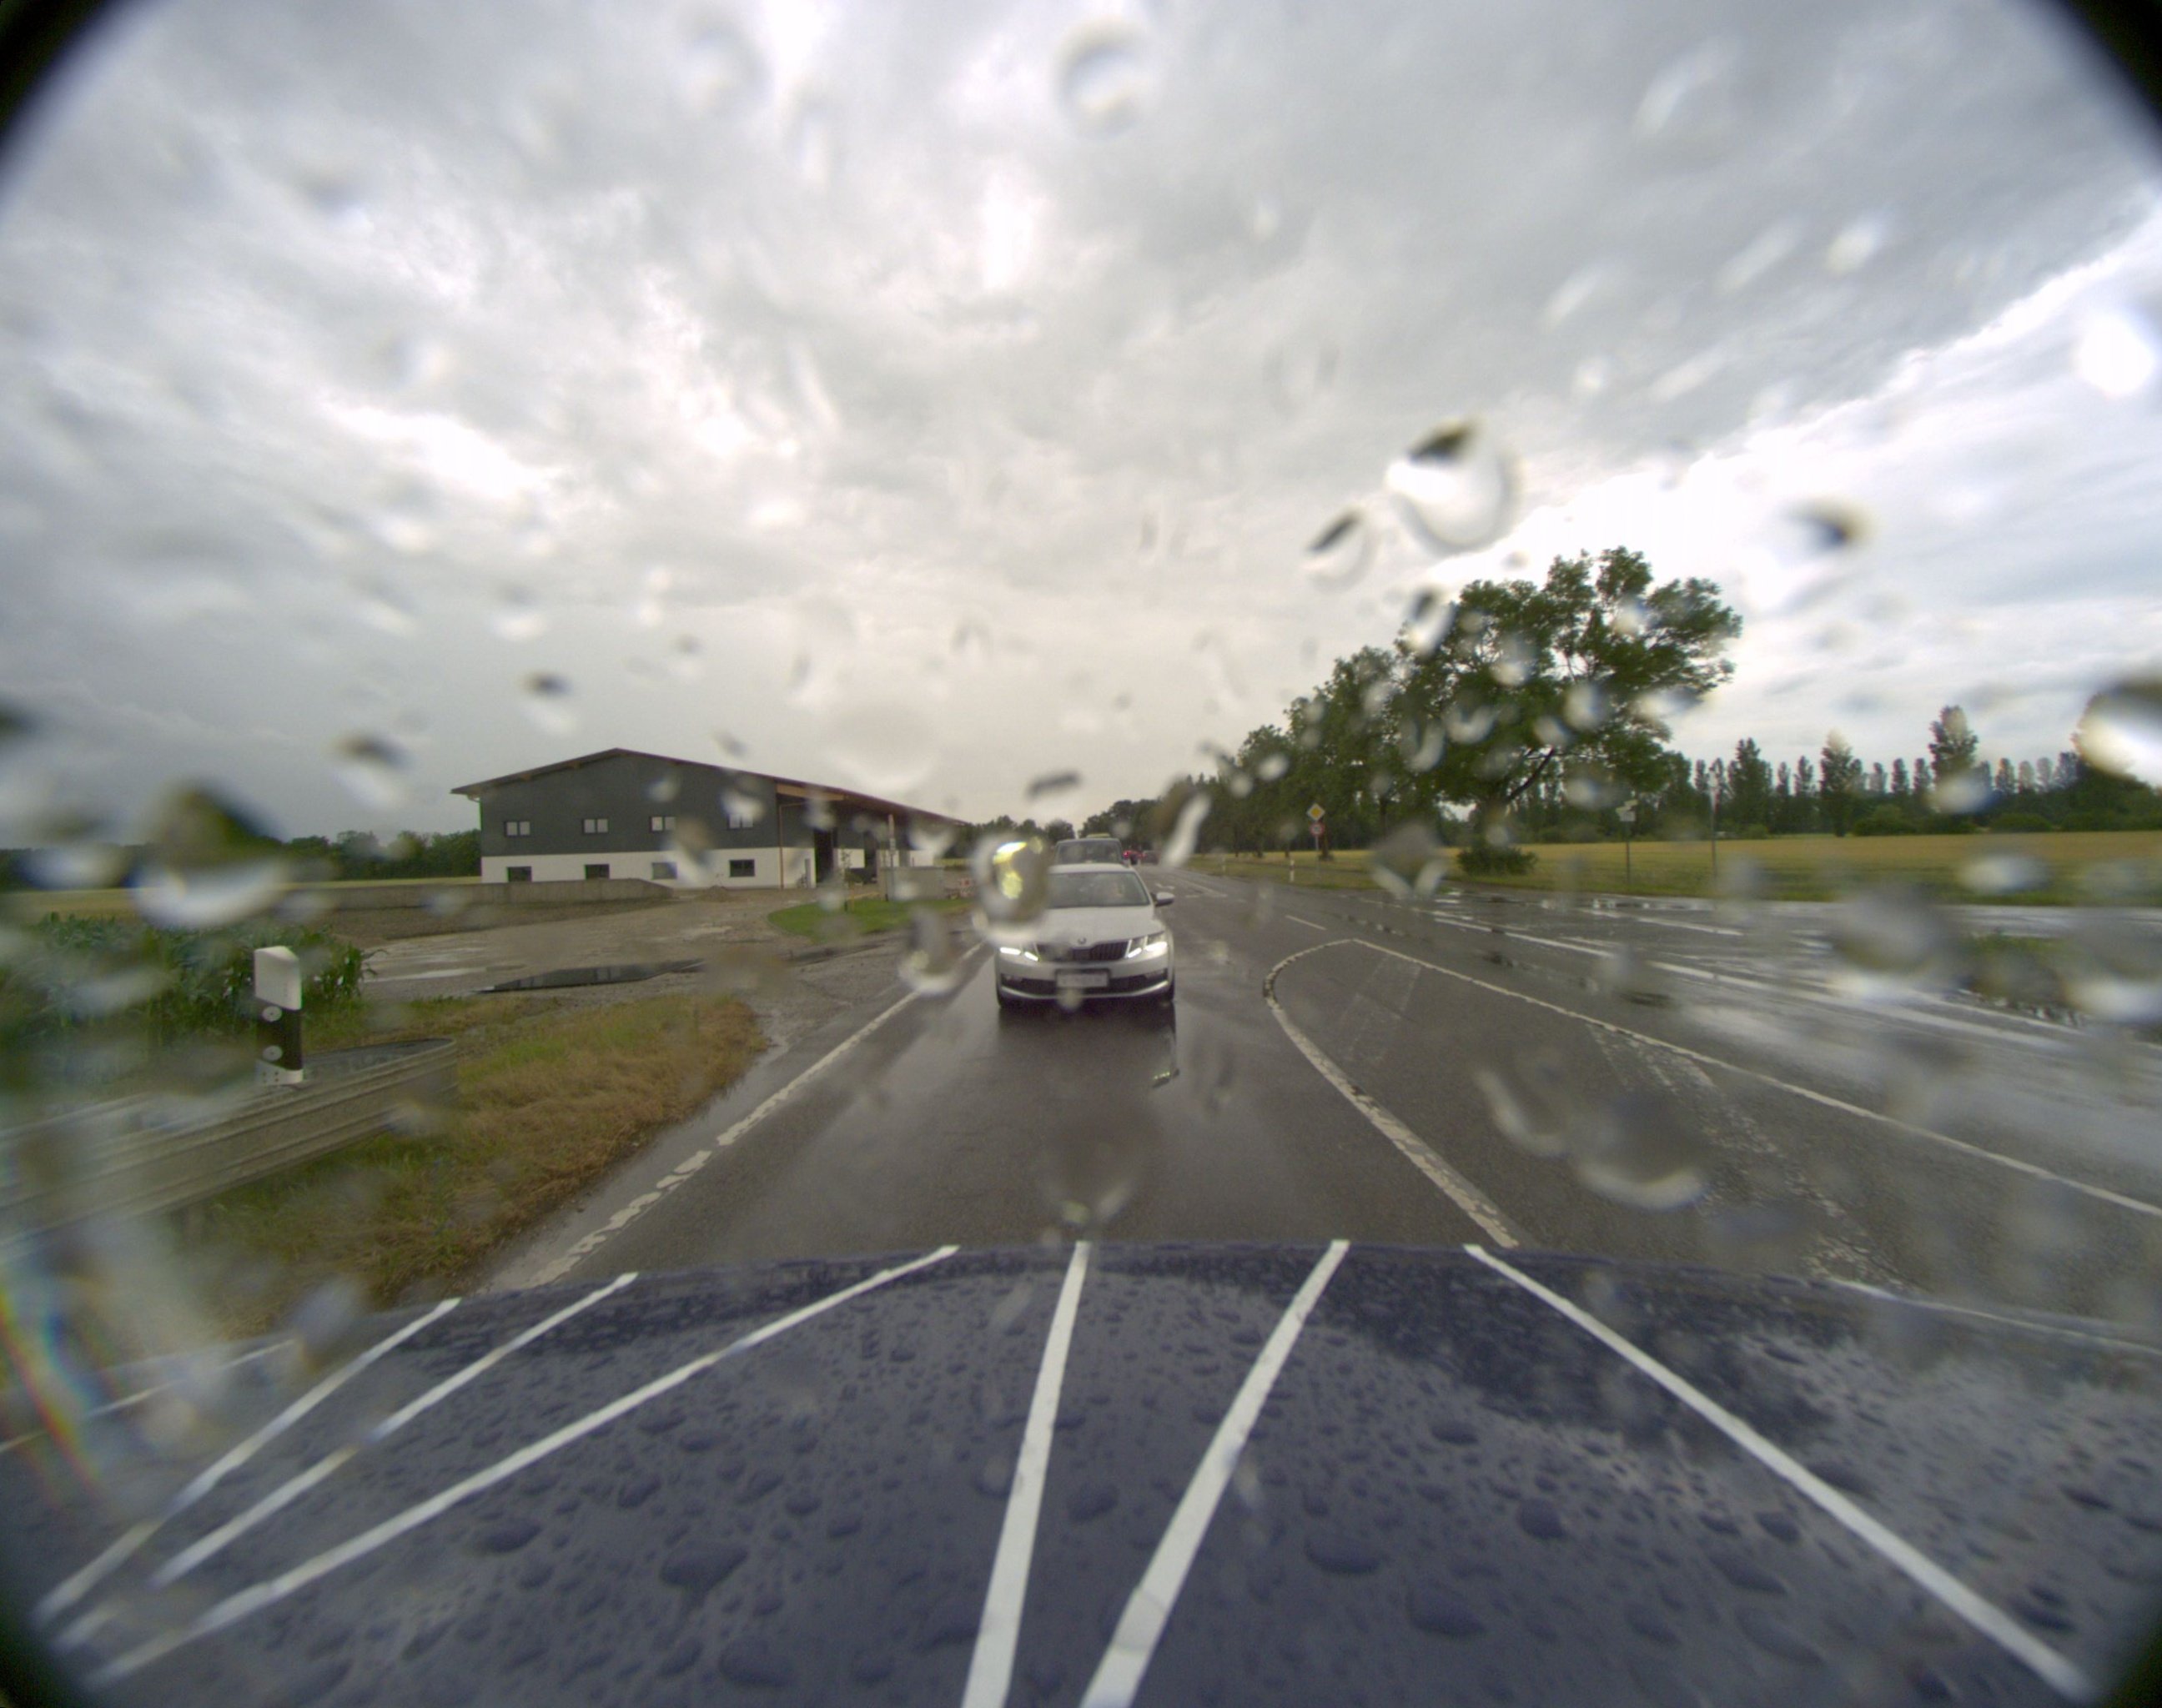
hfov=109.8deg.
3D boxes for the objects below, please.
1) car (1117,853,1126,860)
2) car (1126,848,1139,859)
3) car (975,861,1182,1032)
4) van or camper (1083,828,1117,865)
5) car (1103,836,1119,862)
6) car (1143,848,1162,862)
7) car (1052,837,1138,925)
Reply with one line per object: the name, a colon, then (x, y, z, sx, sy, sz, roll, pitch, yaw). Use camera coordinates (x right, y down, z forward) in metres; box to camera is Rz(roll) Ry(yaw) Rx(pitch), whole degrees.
car: (8.120, 0.466, 152.799, 1.716, 1.397, 3.814, -1, 0, 3)
car: (8.316, -0.107, 123.432, 1.948, 1.571, 4.443, -2, 0, 1)
car: (0.050, 0.838, 8.954, 1.770, 1.365, 4.576, -2, 1, 2)
van or camper: (2.096, -0.844, 81.088, 3.342, 3.624, 8.373, -2, 1, 2)
car: (3.633, -0.616, 92.885, 1.771, 3.134, 4.028, -2, 1, 1)
car: (8.000, 0.102, 85.262, 1.773, 1.514, 4.141, 0, 0, 2)
car: (0.390, 0.579, 19.066, 1.841, 1.888, 4.575, -2, 1, 2)
